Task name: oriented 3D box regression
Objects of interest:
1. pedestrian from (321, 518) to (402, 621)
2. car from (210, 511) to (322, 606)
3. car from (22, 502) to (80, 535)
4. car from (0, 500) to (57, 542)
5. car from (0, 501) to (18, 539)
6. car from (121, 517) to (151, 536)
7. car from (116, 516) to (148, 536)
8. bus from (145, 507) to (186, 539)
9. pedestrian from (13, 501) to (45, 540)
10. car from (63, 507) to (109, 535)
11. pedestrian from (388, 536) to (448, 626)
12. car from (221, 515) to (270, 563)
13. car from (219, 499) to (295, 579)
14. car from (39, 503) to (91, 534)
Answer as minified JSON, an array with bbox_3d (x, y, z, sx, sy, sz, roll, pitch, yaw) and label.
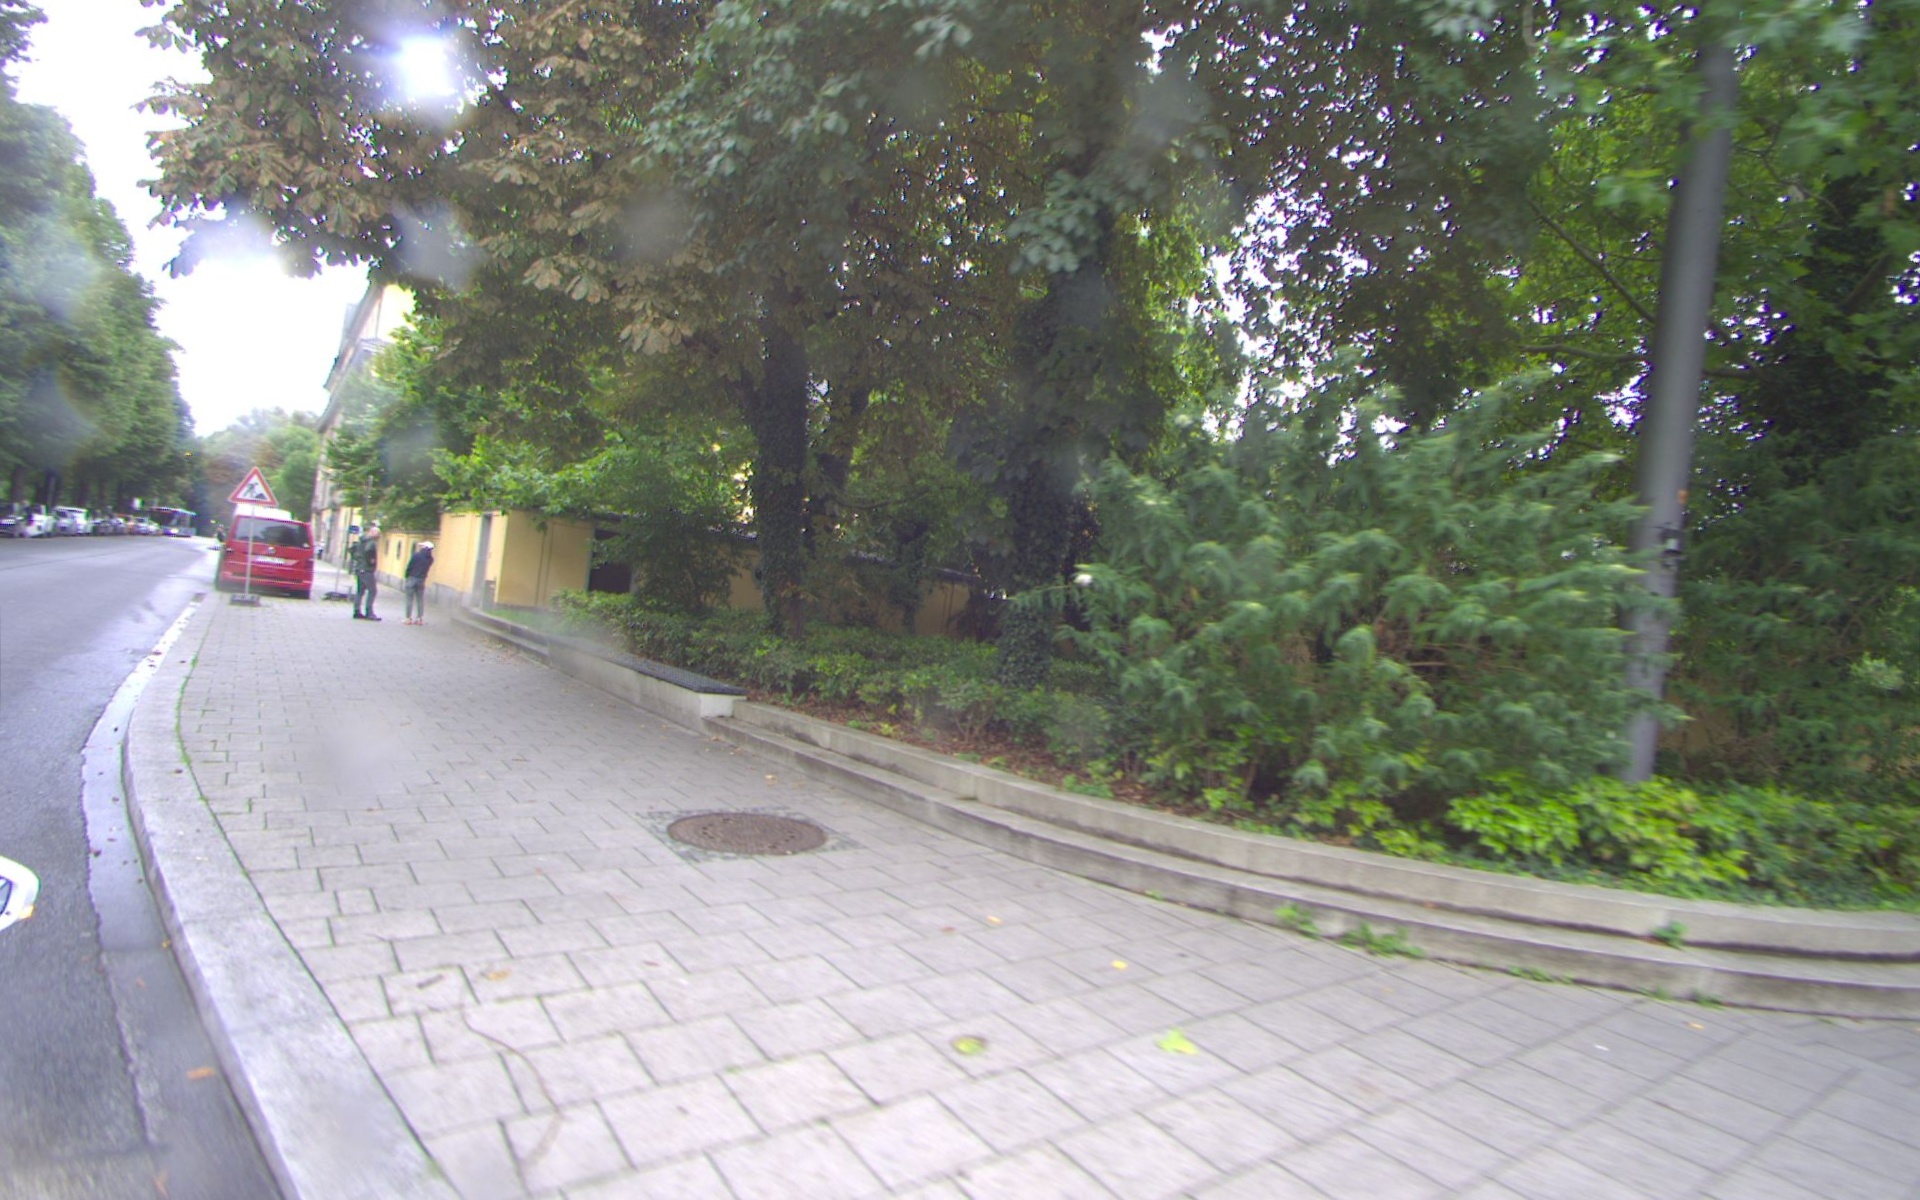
[{"bbox_3d":[-11.736,-0.590,19.729,0.935,1.858,0.822,7,0,27],"label":"pedestrian"},{"bbox_3d":[-17.674,-1.098,25.515,1.903,1.960,4.917,8,-1,-38],"label":"car"},{"bbox_3d":[-50.037,-4.489,55.439,1.985,1.437,3.957,8,-2,-39],"label":"car"},{"bbox_3d":[-44.223,-3.722,47.518,1.985,1.639,4.085,8,-1,-39],"label":"car"},{"bbox_3d":[-40.892,-3.461,41.895,1.985,1.504,4.085,8,-1,-39],"label":"car"},{"bbox_3d":[-77.845,-6.988,95.037,1.985,1.437,3.957,8,-2,-39],"label":"car"},{"bbox_3d":[-74.742,-6.713,90.841,1.985,1.437,3.957,8,-2,-39],"label":"car"},{"bbox_3d":[-88.377,-8.584,111.876,2.928,2.953,8.144,8,-2,-41],"label":"bus"},{"bbox_3d":[-41.656,-3.565,45.010,0.881,1.617,0.813,8,-1,-44],"label":"pedestrian"},{"bbox_3d":[-56.274,-5.080,64.830,1.985,1.437,3.957,8,-2,-39],"label":"car"},{"bbox_3d":[-10.745,-0.372,19.957,0.686,1.687,0.634,7,0,32],"label":"pedestrian"},{"bbox_3d":[-45.068,-3.891,63.410,1.833,2.654,4.333,7,-1,-41],"label":"car"},{"bbox_3d":[-26.694,-2.304,38.190,1.983,2.589,5.378,7,-1,-36],"label":"car"},{"bbox_3d":[-53.538,-4.867,60.230,1.985,1.437,3.957,8,-2,-39],"label":"car"}]
